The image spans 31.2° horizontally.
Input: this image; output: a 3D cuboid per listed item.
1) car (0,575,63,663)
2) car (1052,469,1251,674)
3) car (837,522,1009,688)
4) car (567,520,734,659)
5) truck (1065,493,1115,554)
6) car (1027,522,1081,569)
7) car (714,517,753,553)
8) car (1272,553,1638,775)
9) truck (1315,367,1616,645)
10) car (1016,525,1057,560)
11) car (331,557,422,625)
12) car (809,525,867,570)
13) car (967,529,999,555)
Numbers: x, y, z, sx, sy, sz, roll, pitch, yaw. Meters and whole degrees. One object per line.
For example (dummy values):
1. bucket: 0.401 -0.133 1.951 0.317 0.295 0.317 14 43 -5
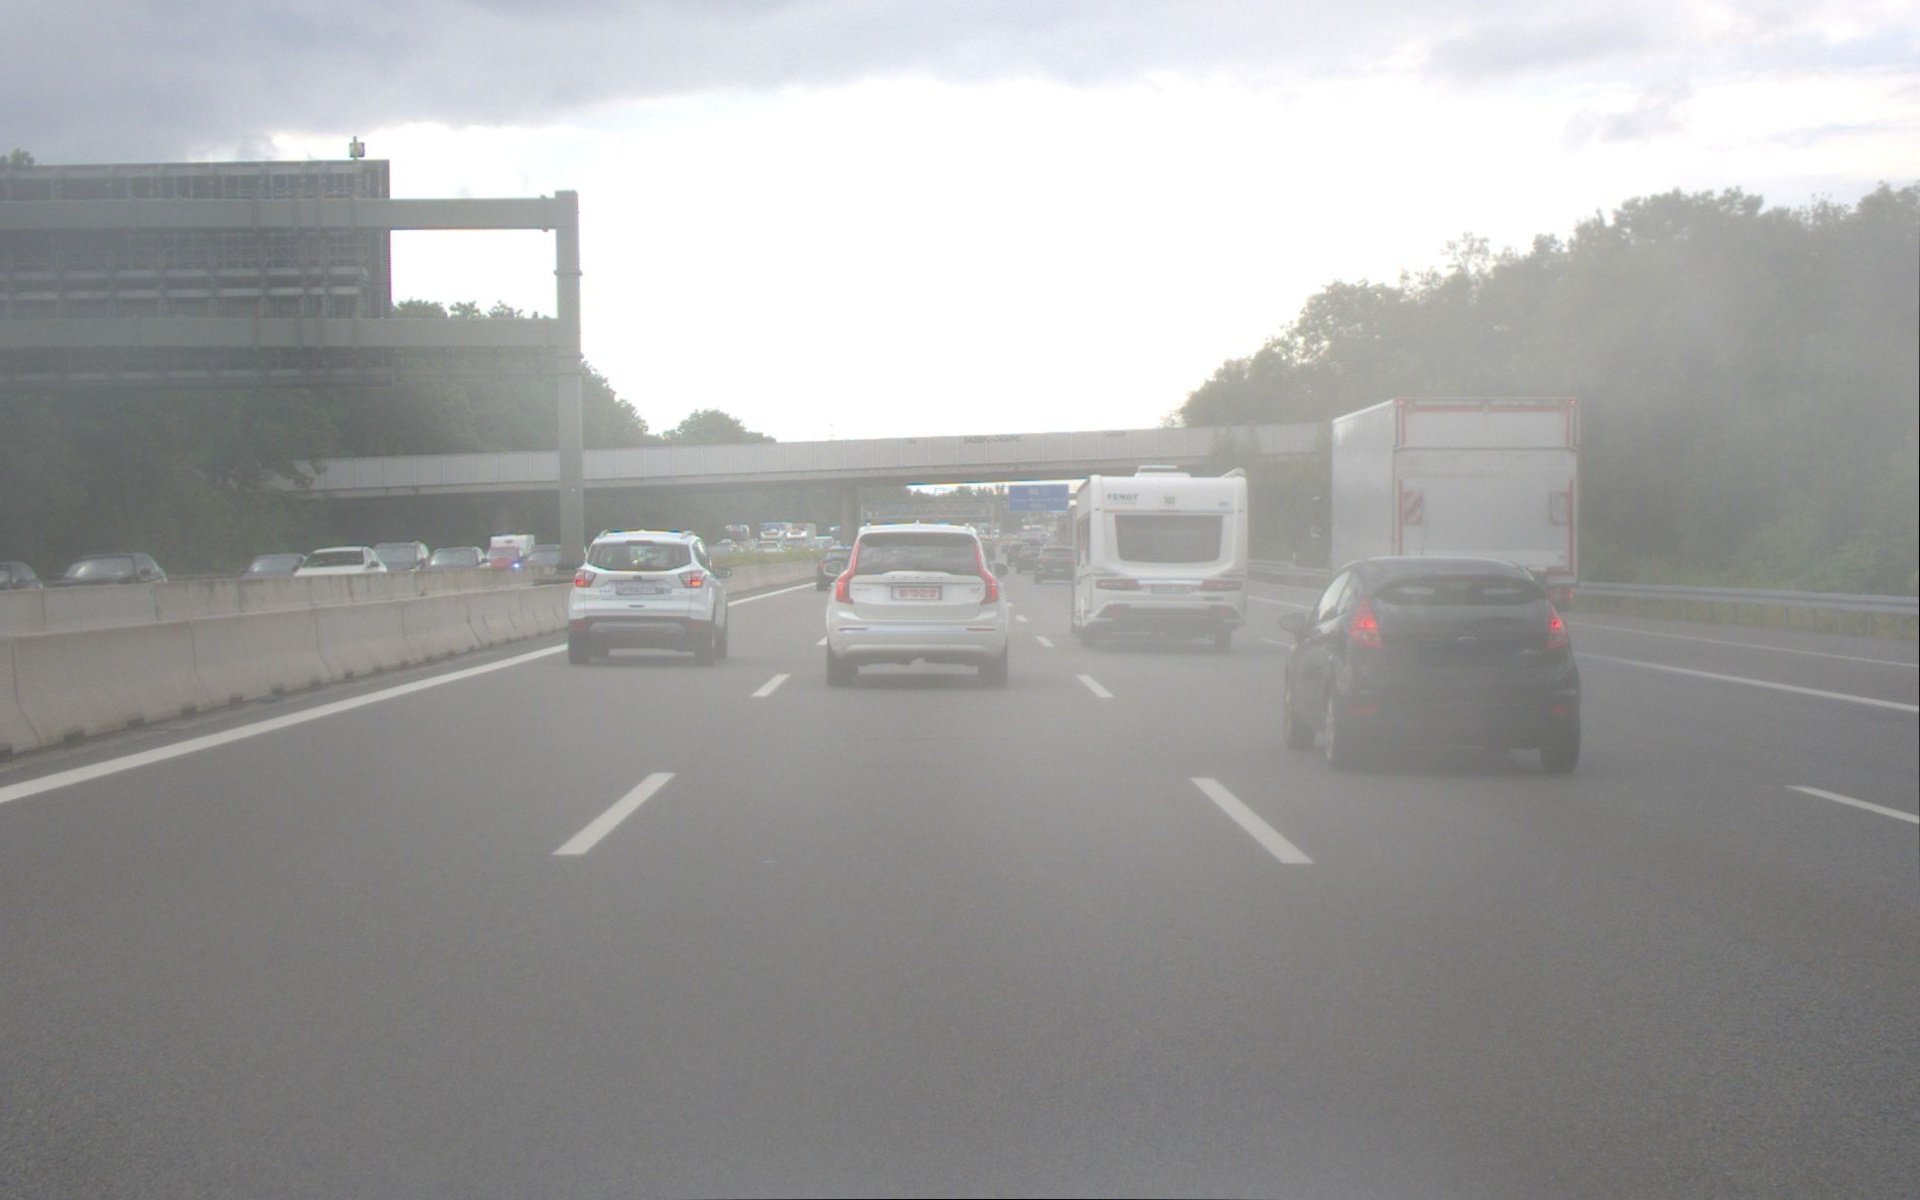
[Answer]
1. car: -21.885 0.397 77.892 1.993 1.885 4.362 0 1 0
2. car: 2.810 -0.483 52.473 2.567 2.885 7.534 0 1 0
3. car: -0.435 0.009 37.947 1.781 1.710 4.353 0 1 -1
4. car: -3.965 -0.183 44.663 1.815 1.684 4.852 0 1 -1
5. truck: 8.156 -4.803 216.792 2.906 3.797 7.274 0 1 0
6. car: 3.706 -2.163 136.446 2.043 1.817 4.904 0 1 0
7. car: -13.967 -4.032 212.187 1.993 2.174 5.289 0 1 0
8. car: 3.405 0.386 24.436 1.885 1.402 4.283 0 1 -1
9. truck: 7.284 -1.356 51.009 3.133 3.697 9.848 0 1 1
10. car: 4.024 -3.063 181.425 2.043 1.817 4.904 0 1 0
11. car: -18.072 -0.309 106.676 1.993 2.007 4.760 0 1 0
12. car: -4.080 -1.764 115.116 1.781 1.476 4.353 0 1 0
13. car: 1.500 -3.857 228.471 1.881 1.680 4.001 0 1 -3
